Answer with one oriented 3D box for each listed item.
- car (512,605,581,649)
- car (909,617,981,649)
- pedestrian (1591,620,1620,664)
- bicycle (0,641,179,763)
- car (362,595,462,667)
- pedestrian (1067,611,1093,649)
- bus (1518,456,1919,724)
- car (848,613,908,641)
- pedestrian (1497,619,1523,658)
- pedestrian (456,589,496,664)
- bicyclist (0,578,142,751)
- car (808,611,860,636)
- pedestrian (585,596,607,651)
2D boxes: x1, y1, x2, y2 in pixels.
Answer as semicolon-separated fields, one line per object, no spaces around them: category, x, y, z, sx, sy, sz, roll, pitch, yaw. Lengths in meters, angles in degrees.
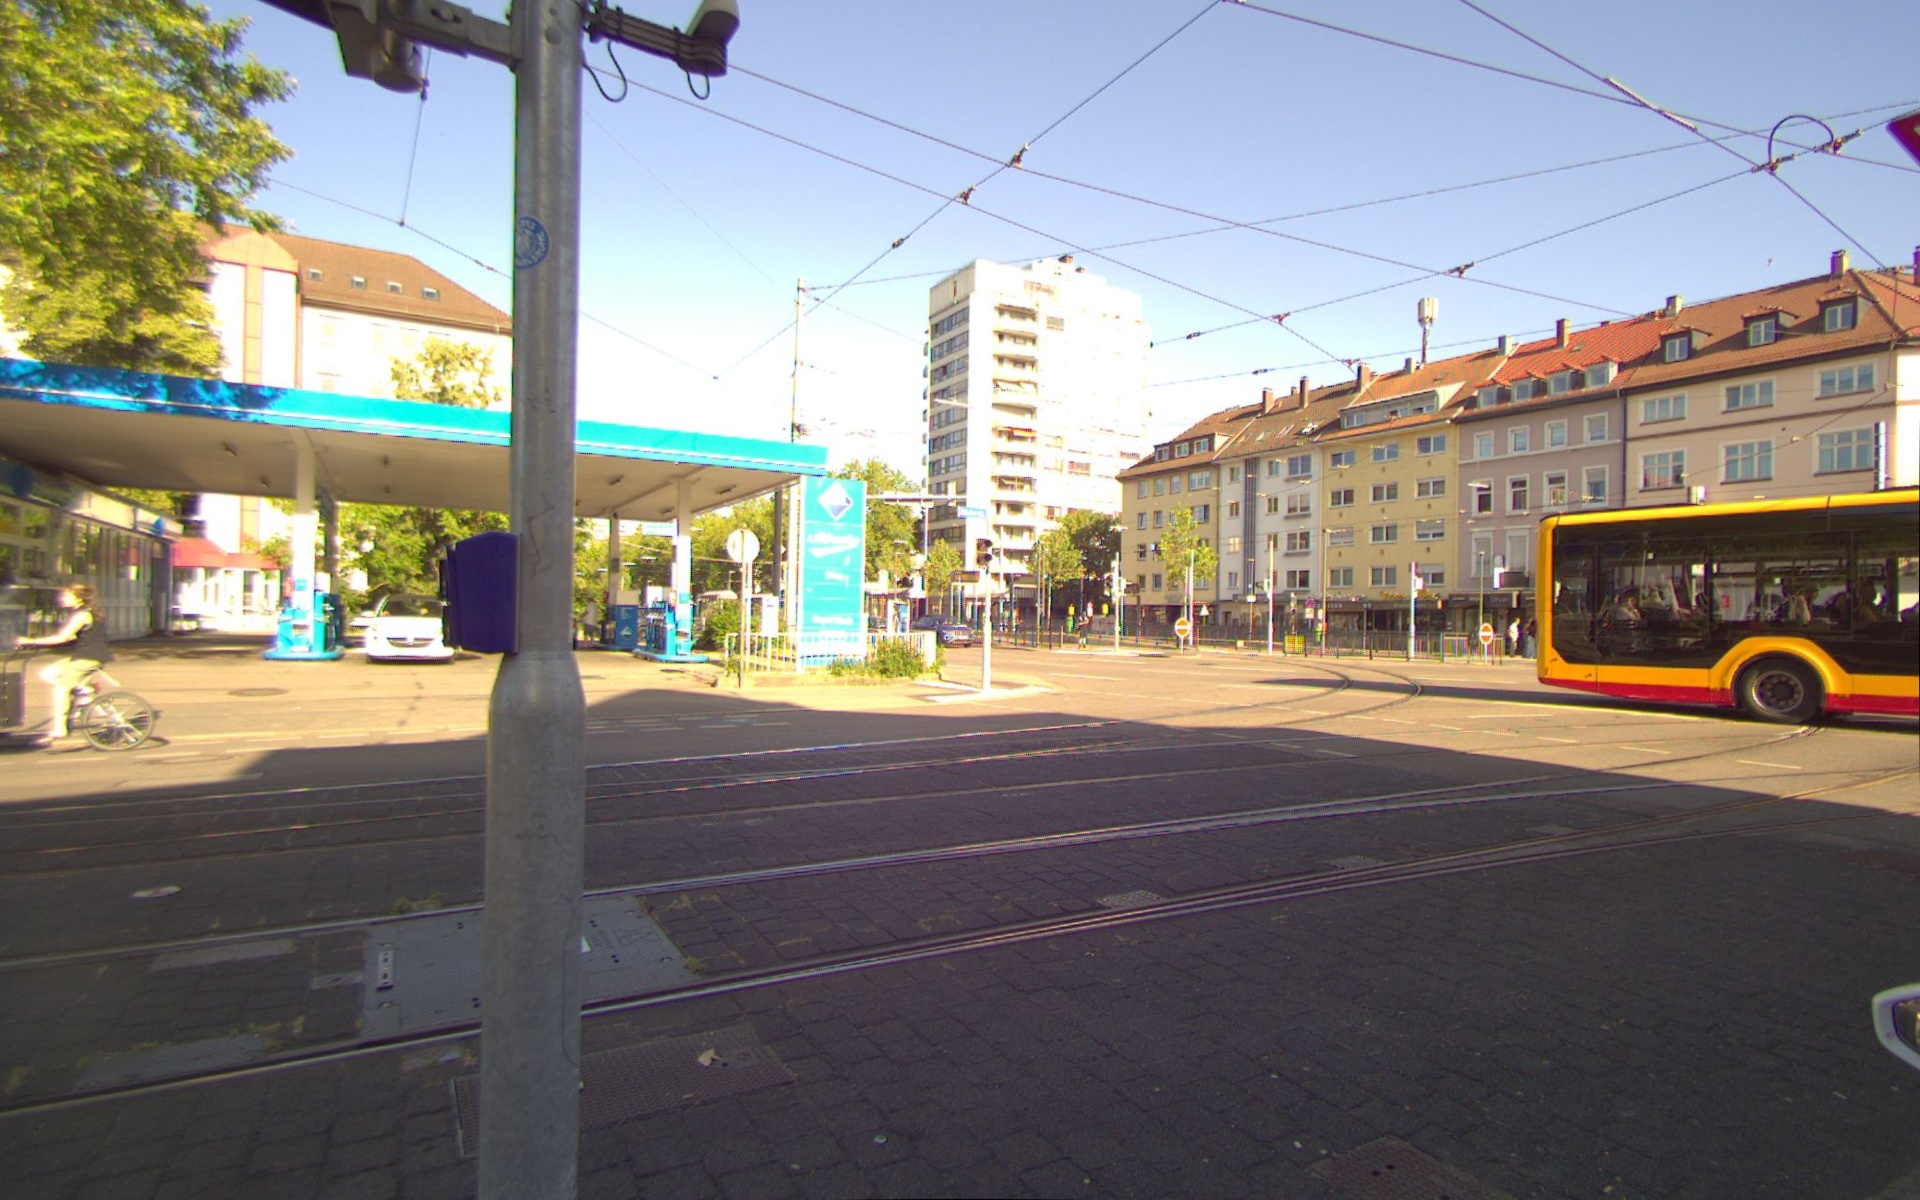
car;-13.581;0.854;32.876;1.697;1.360;3.970;1;-1;-28
car;-0.777;1.532;47.867;1.697;1.439;4.149;1;-1;-28
pedestrian;25.671;1.659;39.943;0.621;1.704;0.737;1;-1;-30
bicycle;-9.312;0.976;9.824;2.490;1.116;1.051;1;-1;-30
car;-12.361;0.667;22.555;1.793;1.461;3.966;1;-1;-31
pedestrian;5.254;1.304;43.963;0.788;1.632;0.766;1;-1;-36
bus;13.185;-0.137;14.541;2.761;3.504;8.550;0;1;-37
car;-4.488;1.446;54.303;1.697;1.439;4.149;1;-1;-28
pedestrian;24.179;1.681;44.147;0.621;1.704;0.763;1;-1;-30
pedestrian;-11.240;0.606;23.338;0.753;1.715;0.581;1;-1;-34
bicyclist;-9.100;0.629;10.239;1.016;1.659;0.927;1;-1;-30
car;-7.615;1.400;60.313;1.697;1.439;4.149;1;-1;-28
pedestrian;-11.712;0.752;32.279;0.579;1.715;0.756;1;-1;-25
